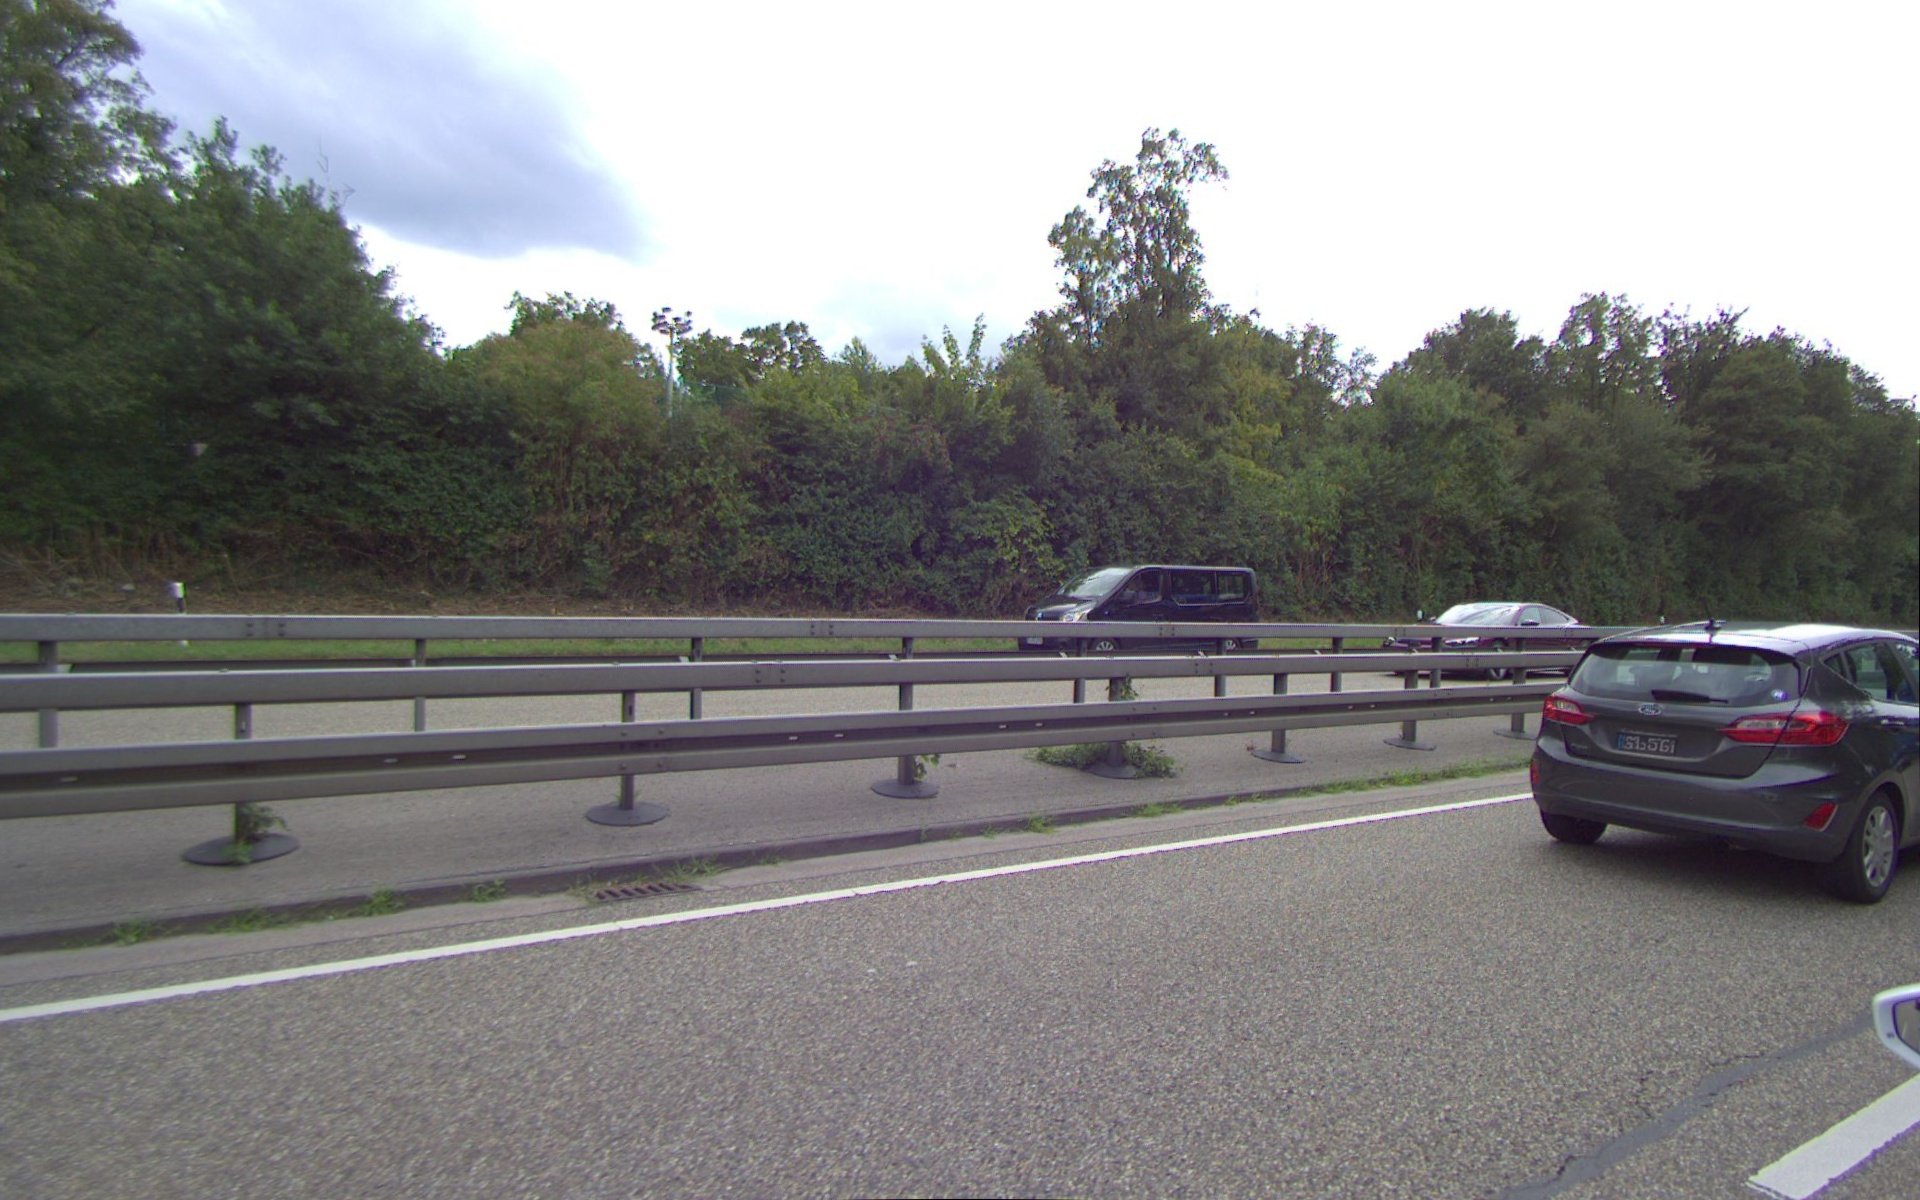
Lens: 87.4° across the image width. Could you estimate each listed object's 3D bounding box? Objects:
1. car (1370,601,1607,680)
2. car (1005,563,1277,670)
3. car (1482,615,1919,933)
[{"bbox_3d":[9.712,0.714,18.341,4.658,1.295,1.647,2,-1,-31],"label":"car"},{"bbox_3d":[3.546,0.337,19.321,5.064,1.828,2.025,2,-1,-31],"label":"car"},{"bbox_3d":[5.683,0.889,6.763,4.589,1.477,1.816,2,-1,-33],"label":"car"}]
